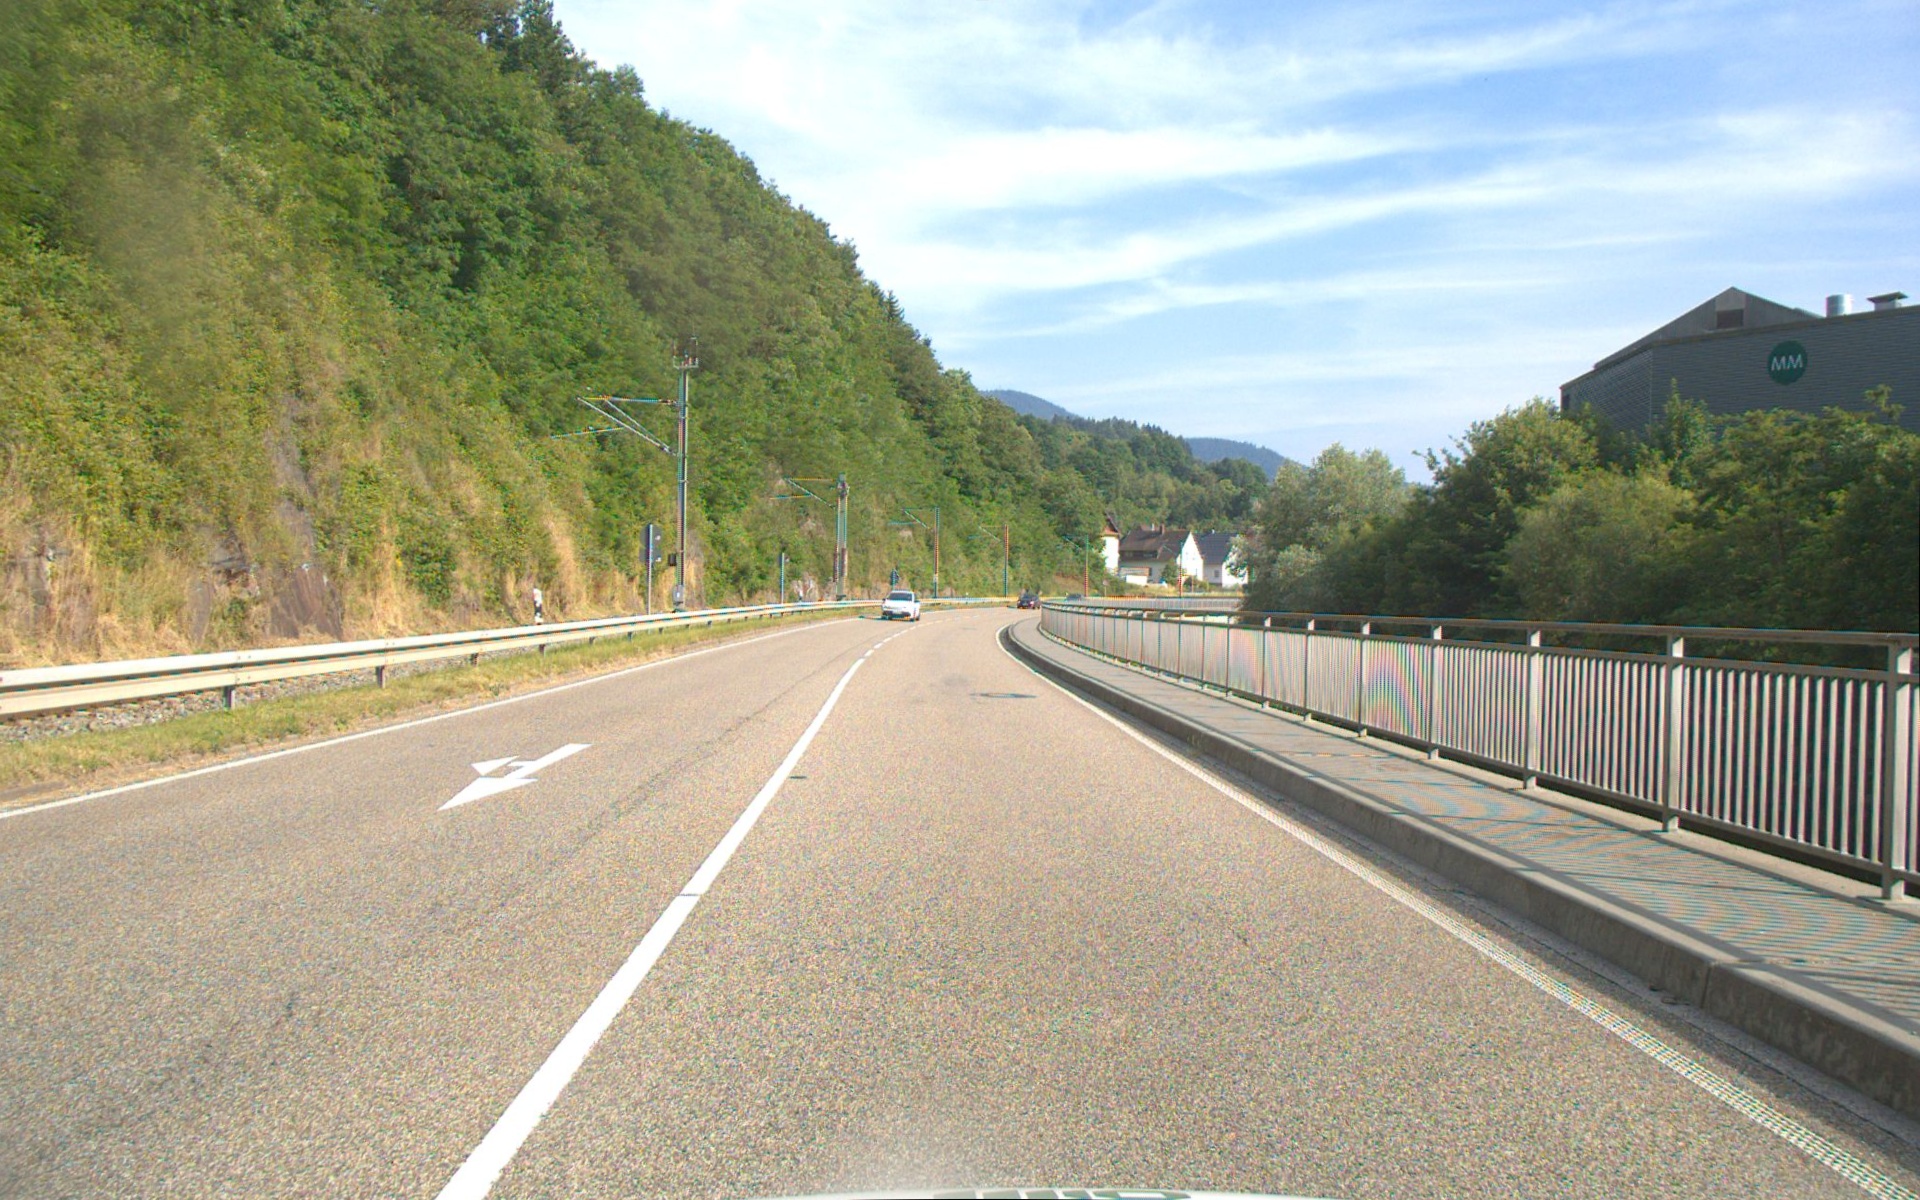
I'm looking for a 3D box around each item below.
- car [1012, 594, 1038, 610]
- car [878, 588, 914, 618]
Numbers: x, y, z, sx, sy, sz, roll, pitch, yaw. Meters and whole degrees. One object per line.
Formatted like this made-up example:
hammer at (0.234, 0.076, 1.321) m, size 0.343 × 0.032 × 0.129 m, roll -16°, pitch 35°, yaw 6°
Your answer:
car at (6.236, 0.189, 158.321) m, size 1.808 × 1.465 × 3.901 m, roll 0°, pitch 0°, yaw 11°
car at (-3.382, 0.162, 88.214) m, size 1.809 × 1.571 × 4.603 m, roll 0°, pitch 0°, yaw -1°
